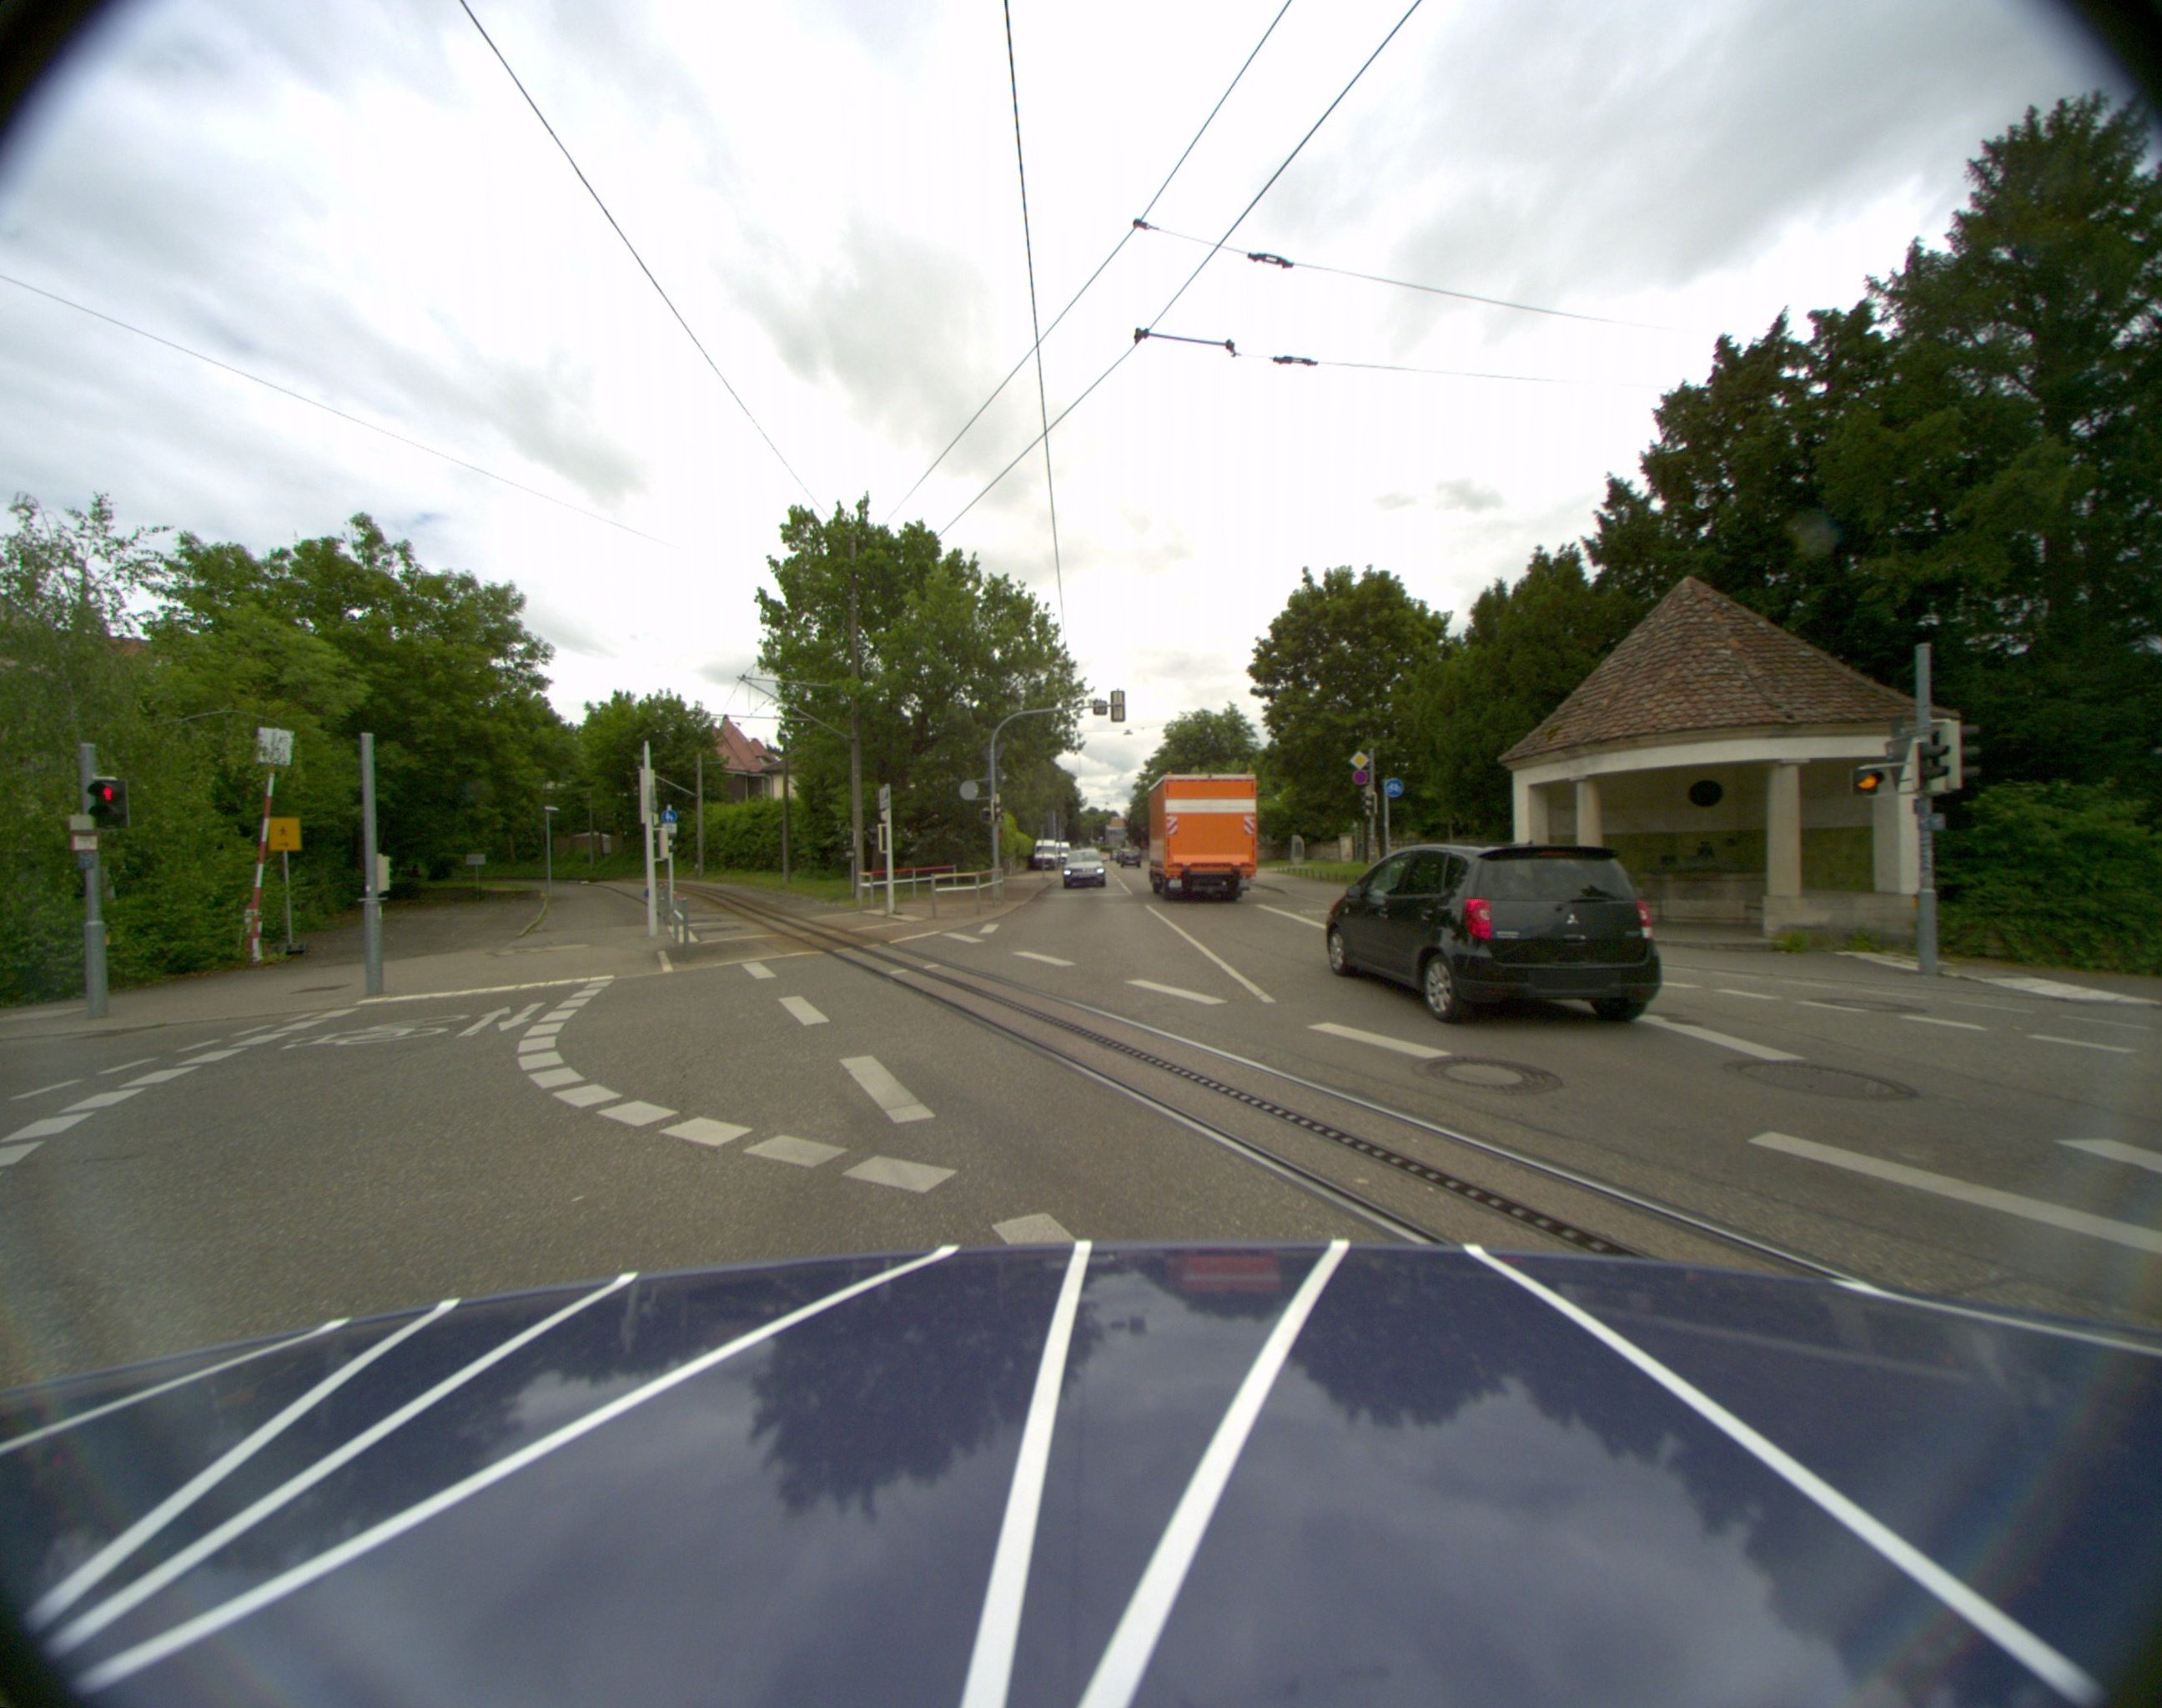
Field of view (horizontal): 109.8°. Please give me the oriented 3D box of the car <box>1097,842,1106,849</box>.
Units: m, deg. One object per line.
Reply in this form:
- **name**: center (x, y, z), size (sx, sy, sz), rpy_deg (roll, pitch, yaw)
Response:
- **car**: center (5.087, -2.102, 187.118), size (1.913, 1.484, 3.999), rpy_deg (1, 1, -2)

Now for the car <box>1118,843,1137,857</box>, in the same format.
- **car**: center (5.085, -0.467, 84.144), size (1.944, 1.522, 4.526), rpy_deg (0, 1, 1)

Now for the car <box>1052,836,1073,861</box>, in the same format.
- **car**: center (-2.036, -0.656, 83.648), size (2.046, 2.588, 5.966), rpy_deg (-1, 1, 1)

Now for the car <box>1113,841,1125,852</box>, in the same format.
- **car**: center (5.338, -1.096, 107.490), size (1.729, 1.454, 4.154), rpy_deg (-1, 1, 2)

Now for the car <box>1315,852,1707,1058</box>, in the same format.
- **car**: center (3.774, 0.751, 7.508), size (1.679, 1.497, 3.732), rpy_deg (0, 1, -1)

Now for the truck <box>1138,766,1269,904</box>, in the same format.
- **truck**: center (3.623, -0.563, 24.702), size (2.776, 3.697, 8.467), rpy_deg (-1, 1, 0)

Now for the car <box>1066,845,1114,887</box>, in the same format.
- **car**: center (0.333, 0.465, 33.886), size (1.835, 1.610, 4.486), rpy_deg (-4, 1, -2)

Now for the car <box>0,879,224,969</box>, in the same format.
- **car**: center (-20.113, 1.369, 14.691), size (4.517, 1.455, 1.999), rpy_deg (-3, 1, -4)

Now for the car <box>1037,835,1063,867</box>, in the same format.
- **car**: center (-2.632, -0.282, 65.693), size (2.095, 2.589, 6.680), rpy_deg (-1, 1, -1)

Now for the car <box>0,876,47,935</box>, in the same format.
- **car**: center (-31.190, 1.454, 21.211), size (2.004, 1.587, 3.989), rpy_deg (-3, 1, -44)

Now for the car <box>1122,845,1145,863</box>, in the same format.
- **car**: center (4.332, -0.030, 63.396), size (1.668, 1.440, 3.827), rpy_deg (-2, 1, 0)
